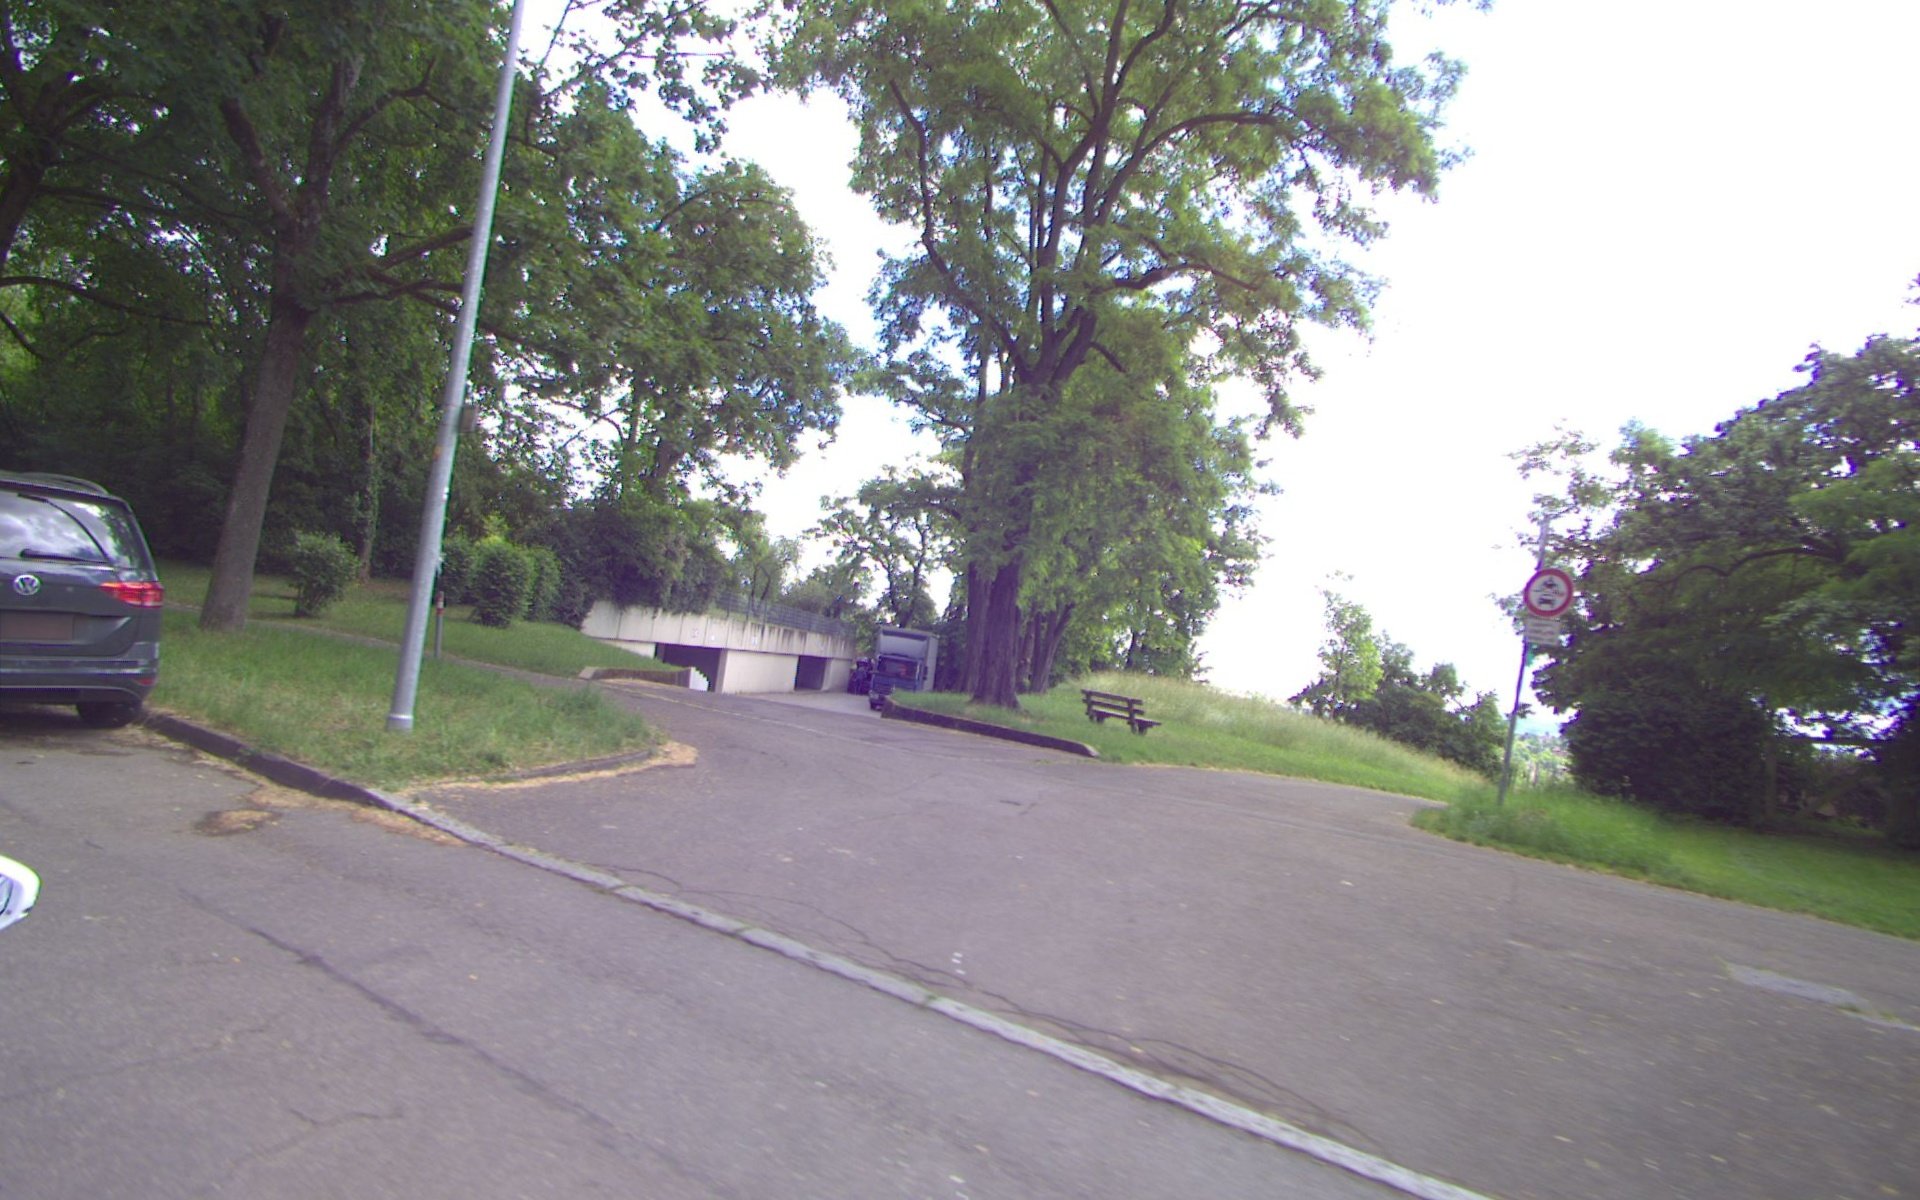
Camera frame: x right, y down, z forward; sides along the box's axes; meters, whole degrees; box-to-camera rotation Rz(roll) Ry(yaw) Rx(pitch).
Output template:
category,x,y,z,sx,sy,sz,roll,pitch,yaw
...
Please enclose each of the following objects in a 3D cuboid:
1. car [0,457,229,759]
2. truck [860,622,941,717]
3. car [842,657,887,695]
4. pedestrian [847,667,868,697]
category,x,y,z,sx,sy,sz,roll,pitch,yaw
car,-7.373,-0.159,6.909,4.757,1.681,1.781,6,-3,29
truck,-2.822,3.545,50.989,2.647,4.039,9.590,7,-4,3
car,-5.921,4.706,62.805,1.962,2.037,4.004,7,-2,4
pedestrian,-6.139,4.921,60.407,0.948,1.631,0.703,9,-2,4
